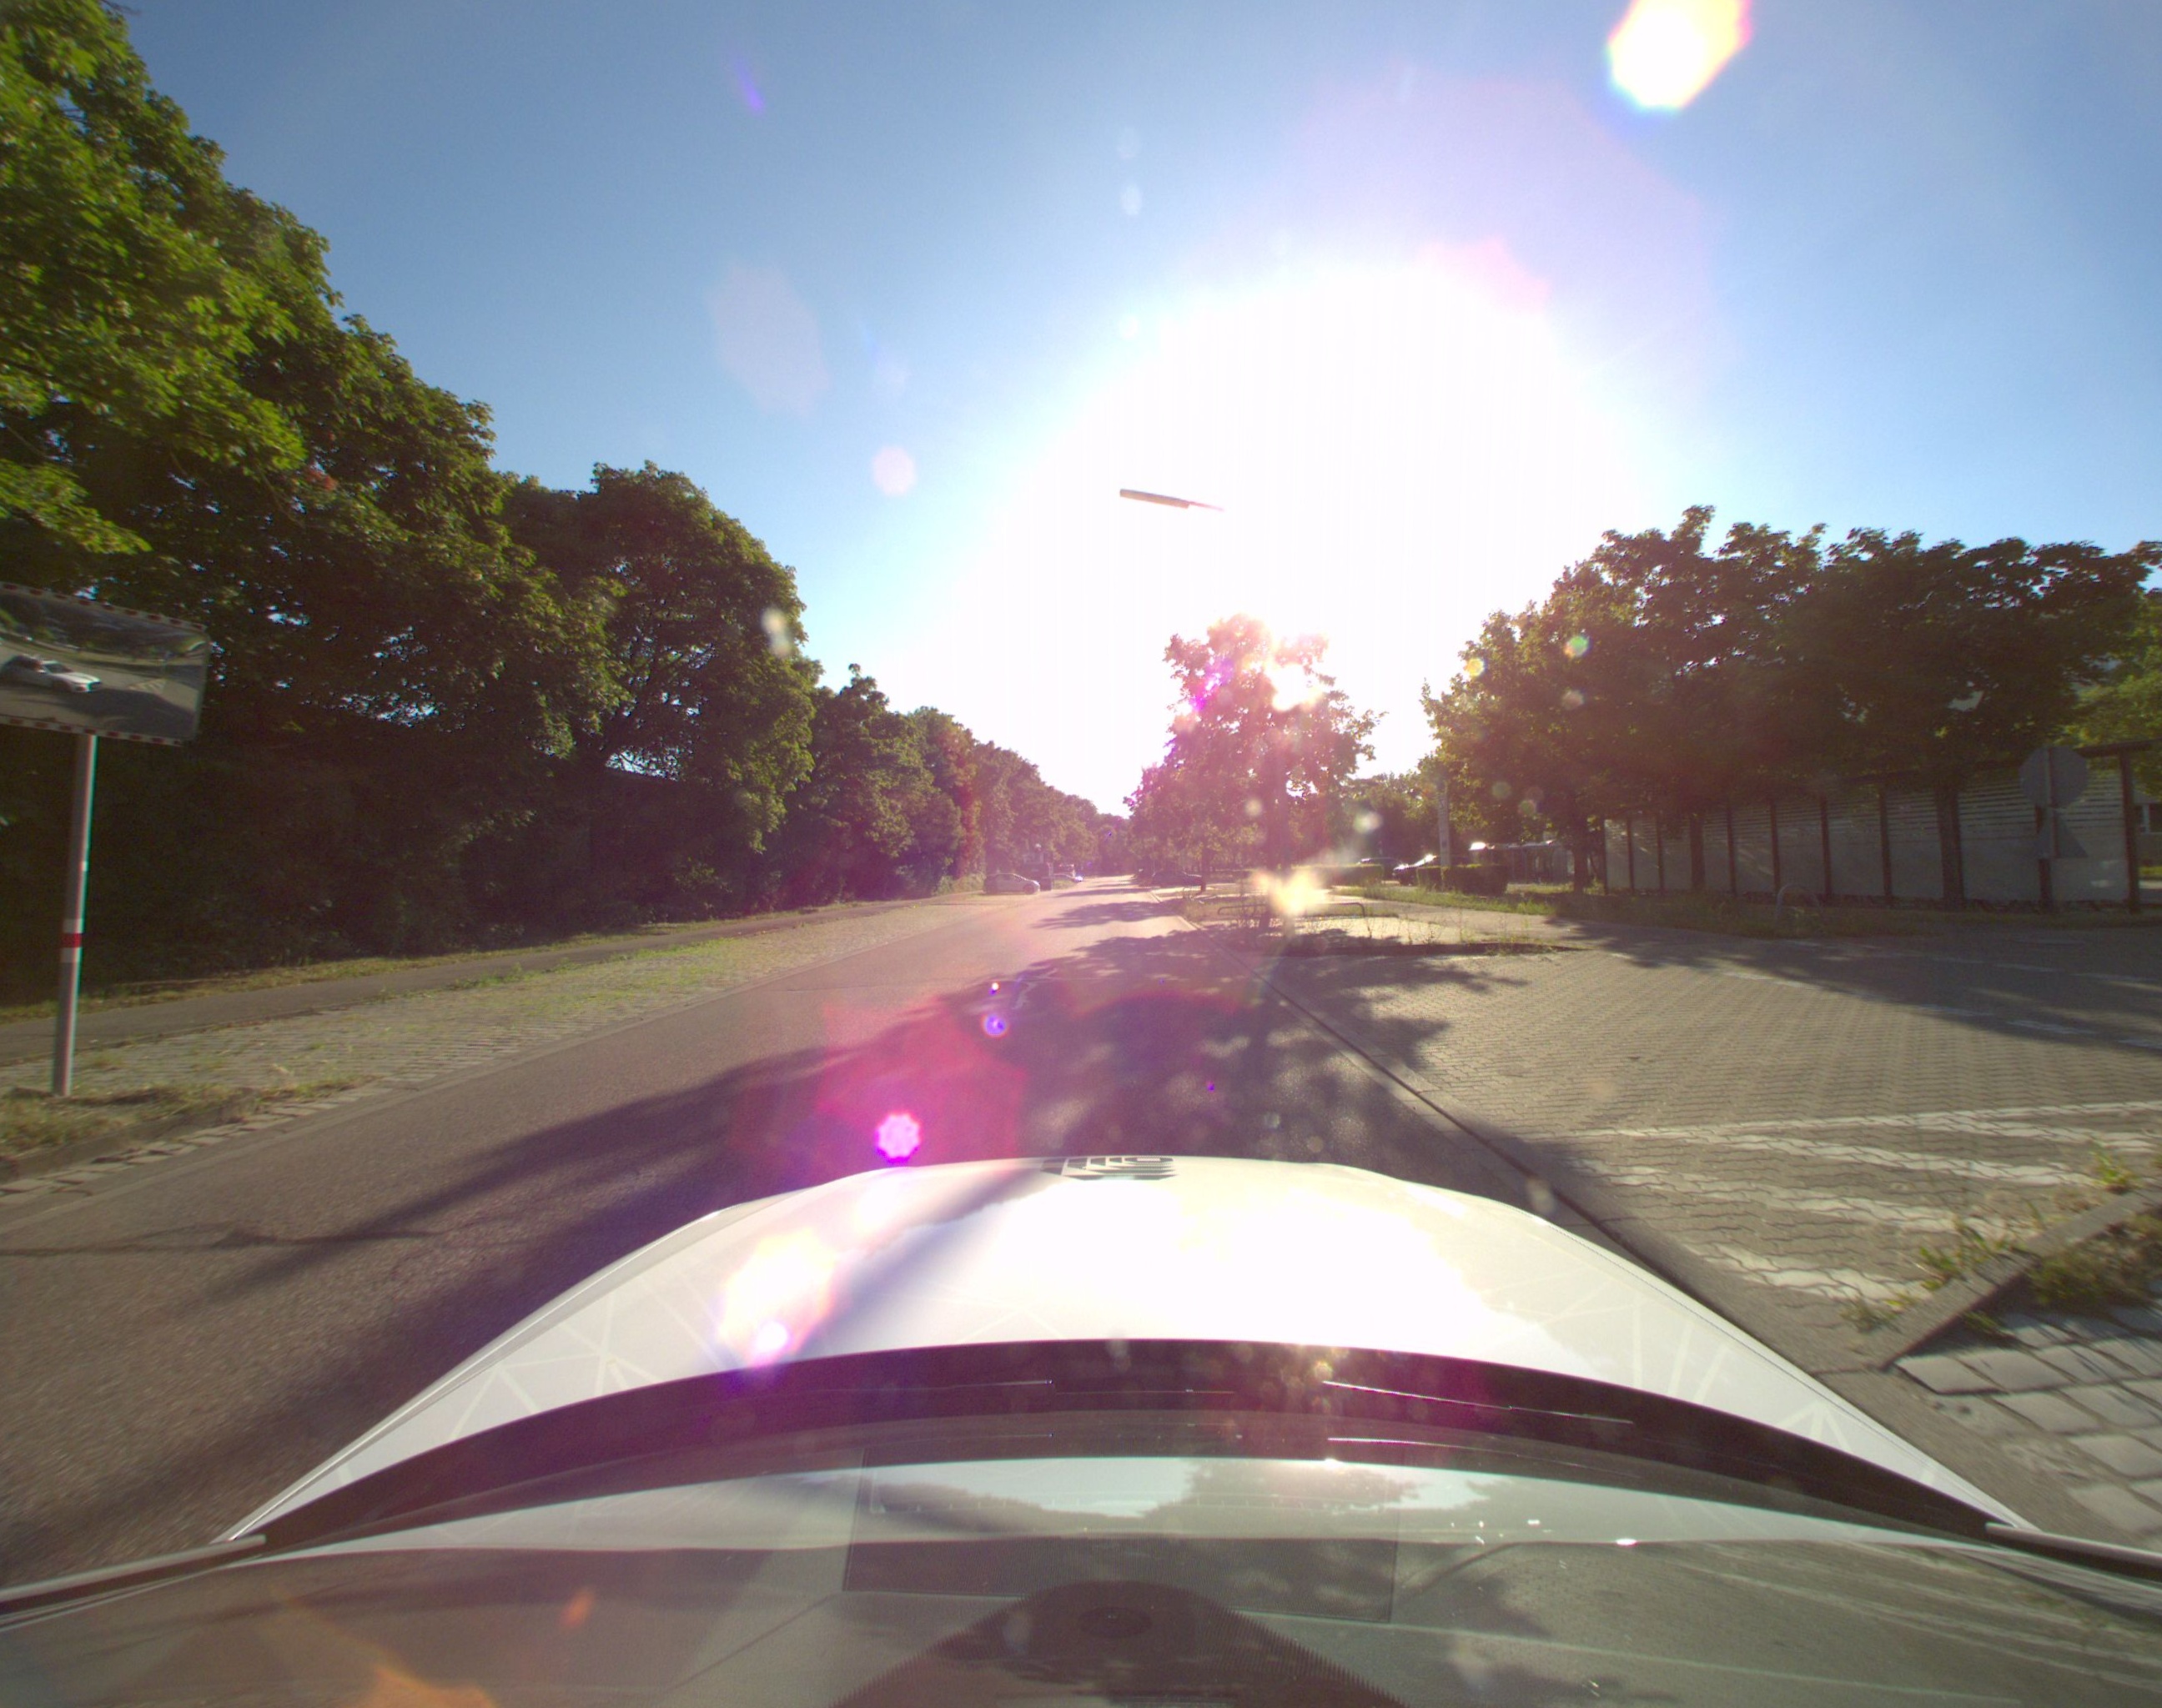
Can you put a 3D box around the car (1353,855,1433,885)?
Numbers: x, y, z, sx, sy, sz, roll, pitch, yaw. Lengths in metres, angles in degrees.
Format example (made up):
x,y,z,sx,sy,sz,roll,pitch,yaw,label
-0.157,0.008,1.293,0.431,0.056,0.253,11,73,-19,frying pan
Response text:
x,y,z,sx,sy,sz,roll,pitch,yaw,label
19.861,1.008,52.047,4.339,1.706,2.002,-2,-2,4,car

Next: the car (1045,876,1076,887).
x,y,z,sx,sy,sz,roll,pitch,yaw,label
-2.930,3.954,116.242,4.350,1.479,1.997,0,-2,-4,car

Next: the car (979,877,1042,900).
x,y,z,sx,sy,sz,roll,pitch,yaw,label
-5.222,2.552,60.831,4.340,1.547,2.001,-2,-2,3,car

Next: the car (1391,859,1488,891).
x,y,z,sx,sy,sz,roll,pitch,yaw,label
19.531,1.155,44.554,4.413,1.706,2.059,0,-2,1,car

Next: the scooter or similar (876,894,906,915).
x,y,z,sx,sy,sz,roll,pitch,yaw,label
-10.750,2.851,46.171,0.570,1.145,1.594,-4,-3,42,scooter or similar

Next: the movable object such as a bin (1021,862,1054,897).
x,y,z,sx,sy,sz,roll,pitch,yaw,label
-3.893,2.329,73.512,2.830,3.069,4.923,0,-2,-2,movable object such as a bin

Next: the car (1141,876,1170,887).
x,y,z,sx,sy,sz,roll,pitch,yaw,label
11.397,4.257,125.463,4.342,1.729,2.000,0,-2,1,car

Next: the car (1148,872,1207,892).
x,y,z,sx,sy,sz,roll,pitch,yaw,label
8.212,2.397,69.748,4.821,1.479,2.001,-2,-2,3,car

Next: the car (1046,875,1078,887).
x,y,z,sx,sy,sz,roll,pitch,yaw,label
-2.602,3.735,113.706,4.350,1.479,1.997,-2,-2,-4,car

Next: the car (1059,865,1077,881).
x,y,z,sx,sy,sz,roll,pitch,yaw,label
-2.014,2.883,123.081,2.512,2.386,4.365,-2,-2,-4,car
